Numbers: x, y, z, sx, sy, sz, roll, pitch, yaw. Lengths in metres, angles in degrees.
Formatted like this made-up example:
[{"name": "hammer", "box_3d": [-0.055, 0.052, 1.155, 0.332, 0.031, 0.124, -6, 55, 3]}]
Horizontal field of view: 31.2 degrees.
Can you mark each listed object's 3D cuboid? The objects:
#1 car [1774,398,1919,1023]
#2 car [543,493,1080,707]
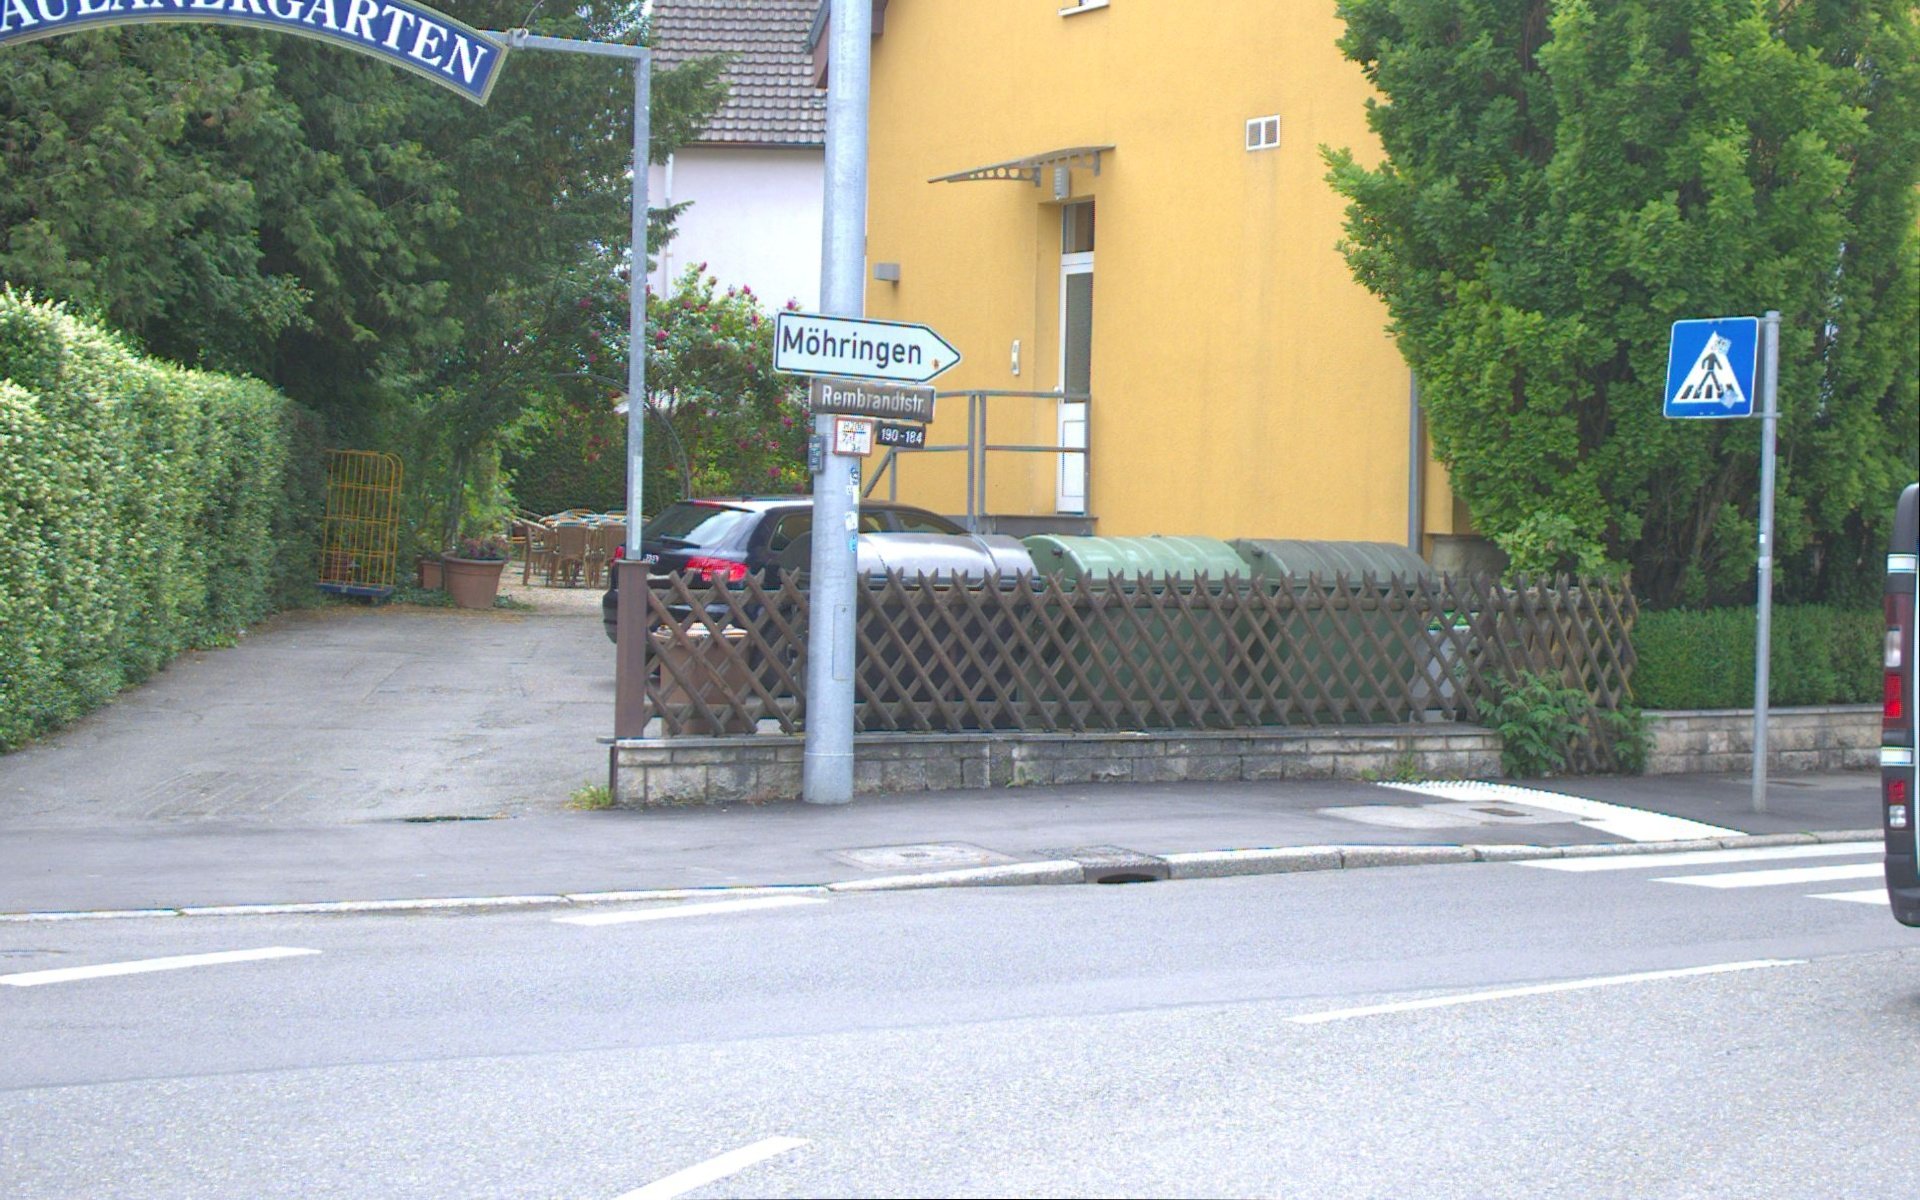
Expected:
[{"name": "car", "box_3d": [5.439, 0.393, 13.451, 2.122, 2.127, 5.428, 3, 2, 40]}, {"name": "car", "box_3d": [-1.101, -0.051, 25.978, 3.668, 1.422, 1.727, -1, 5, -35]}]
